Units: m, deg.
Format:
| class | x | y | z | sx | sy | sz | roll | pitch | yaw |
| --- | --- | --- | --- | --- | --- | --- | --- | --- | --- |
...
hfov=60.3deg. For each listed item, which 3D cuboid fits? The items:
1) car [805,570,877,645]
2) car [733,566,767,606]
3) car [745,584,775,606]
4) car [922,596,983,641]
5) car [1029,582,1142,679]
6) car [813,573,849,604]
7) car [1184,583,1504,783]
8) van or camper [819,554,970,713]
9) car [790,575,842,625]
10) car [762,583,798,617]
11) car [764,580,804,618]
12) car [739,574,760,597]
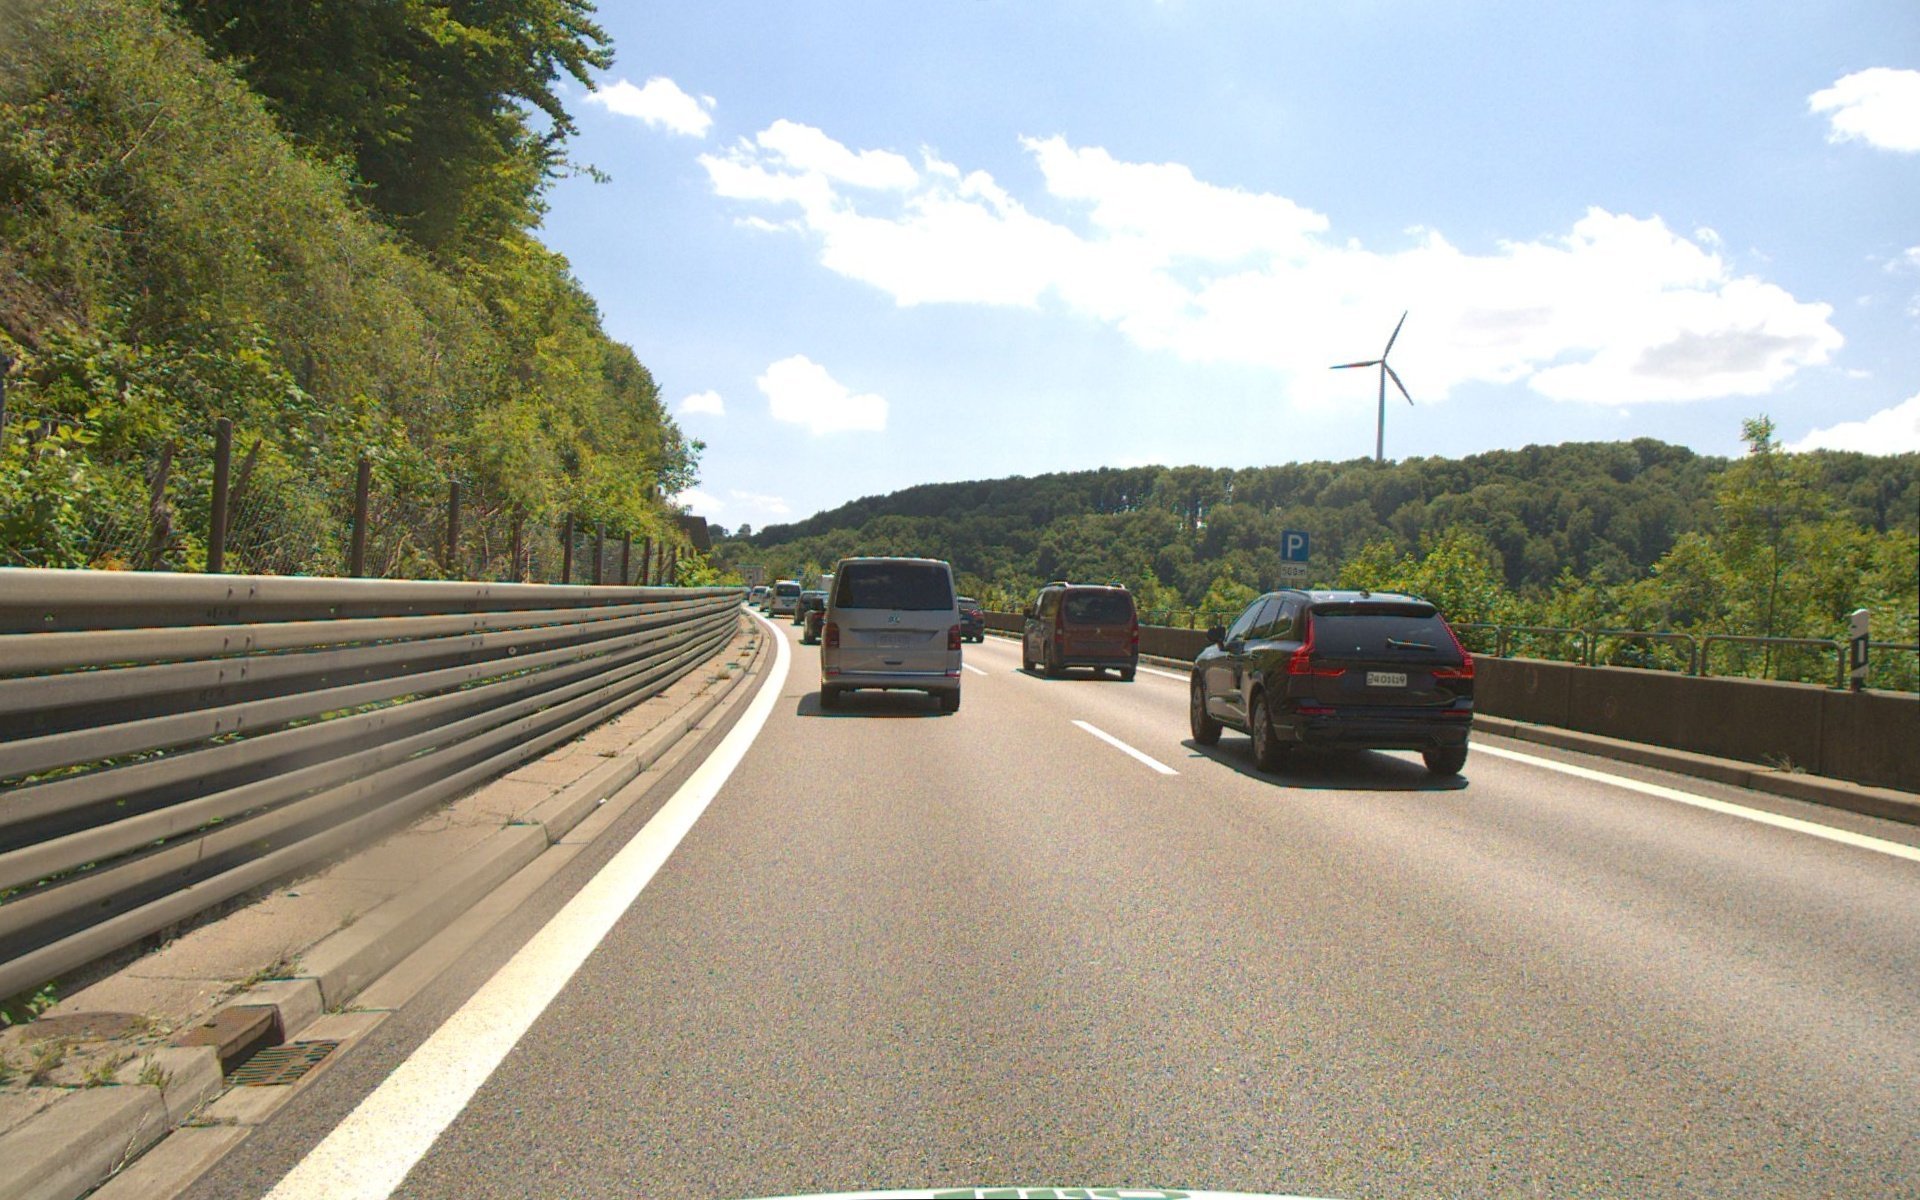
| class | x | y | z | sx | sy | sz | roll | pitch | yaw |
| --- | --- | --- | --- | --- | --- | --- | --- | --- | --- |
| car | -3.483 | 0.198 | 47.915 | 1.955 | 2.049 | 3.995 | 1 | 0 | -6 |
| car | -26.616 | -1.762 | 210.069 | 3.966 | 4.956 | 10.095 | 1 | 0 | -6 |
| car | -15.979 | -0.404 | 131.939 | 2.103 | 1.635 | 5.067 | 2 | 0 | -9 |
| car | -0.281 | 0.592 | 55.065 | 1.734 | 1.400 | 3.589 | 1 | 0 | -5 |
| car | 2.474 | 0.591 | 33.584 | 1.796 | 1.815 | 4.674 | 1 | 0 | -1 |
| car | -8.894 | -0.763 | 113.908 | 1.958 | 2.049 | 3.989 | 1 | 0 | -11 |
| car | 3.545 | 0.698 | 16.217 | 1.798 | 1.662 | 4.659 | 1 | 0 | -4 |
| van or camper | -1.001 | 0.435 | 22.932 | 1.839 | 1.984 | 4.288 | 1 | 0 | -5 |
| car | -6.151 | 0.017 | 70.456 | 1.956 | 2.049 | 3.992 | 1 | 0 | -8 |
| car | -10.943 | -0.023 | 100.531 | 1.956 | 1.948 | 3.993 | 2 | 0 | -8 |
| car | -9.119 | -0.059 | 85.490 | 1.956 | 1.849 | 3.994 | 2 | 0 | -7 |
| car | -20.158 | -1.362 | 158.163 | 1.956 | 2.049 | 3.992 | 1 | 0 | -8 |
